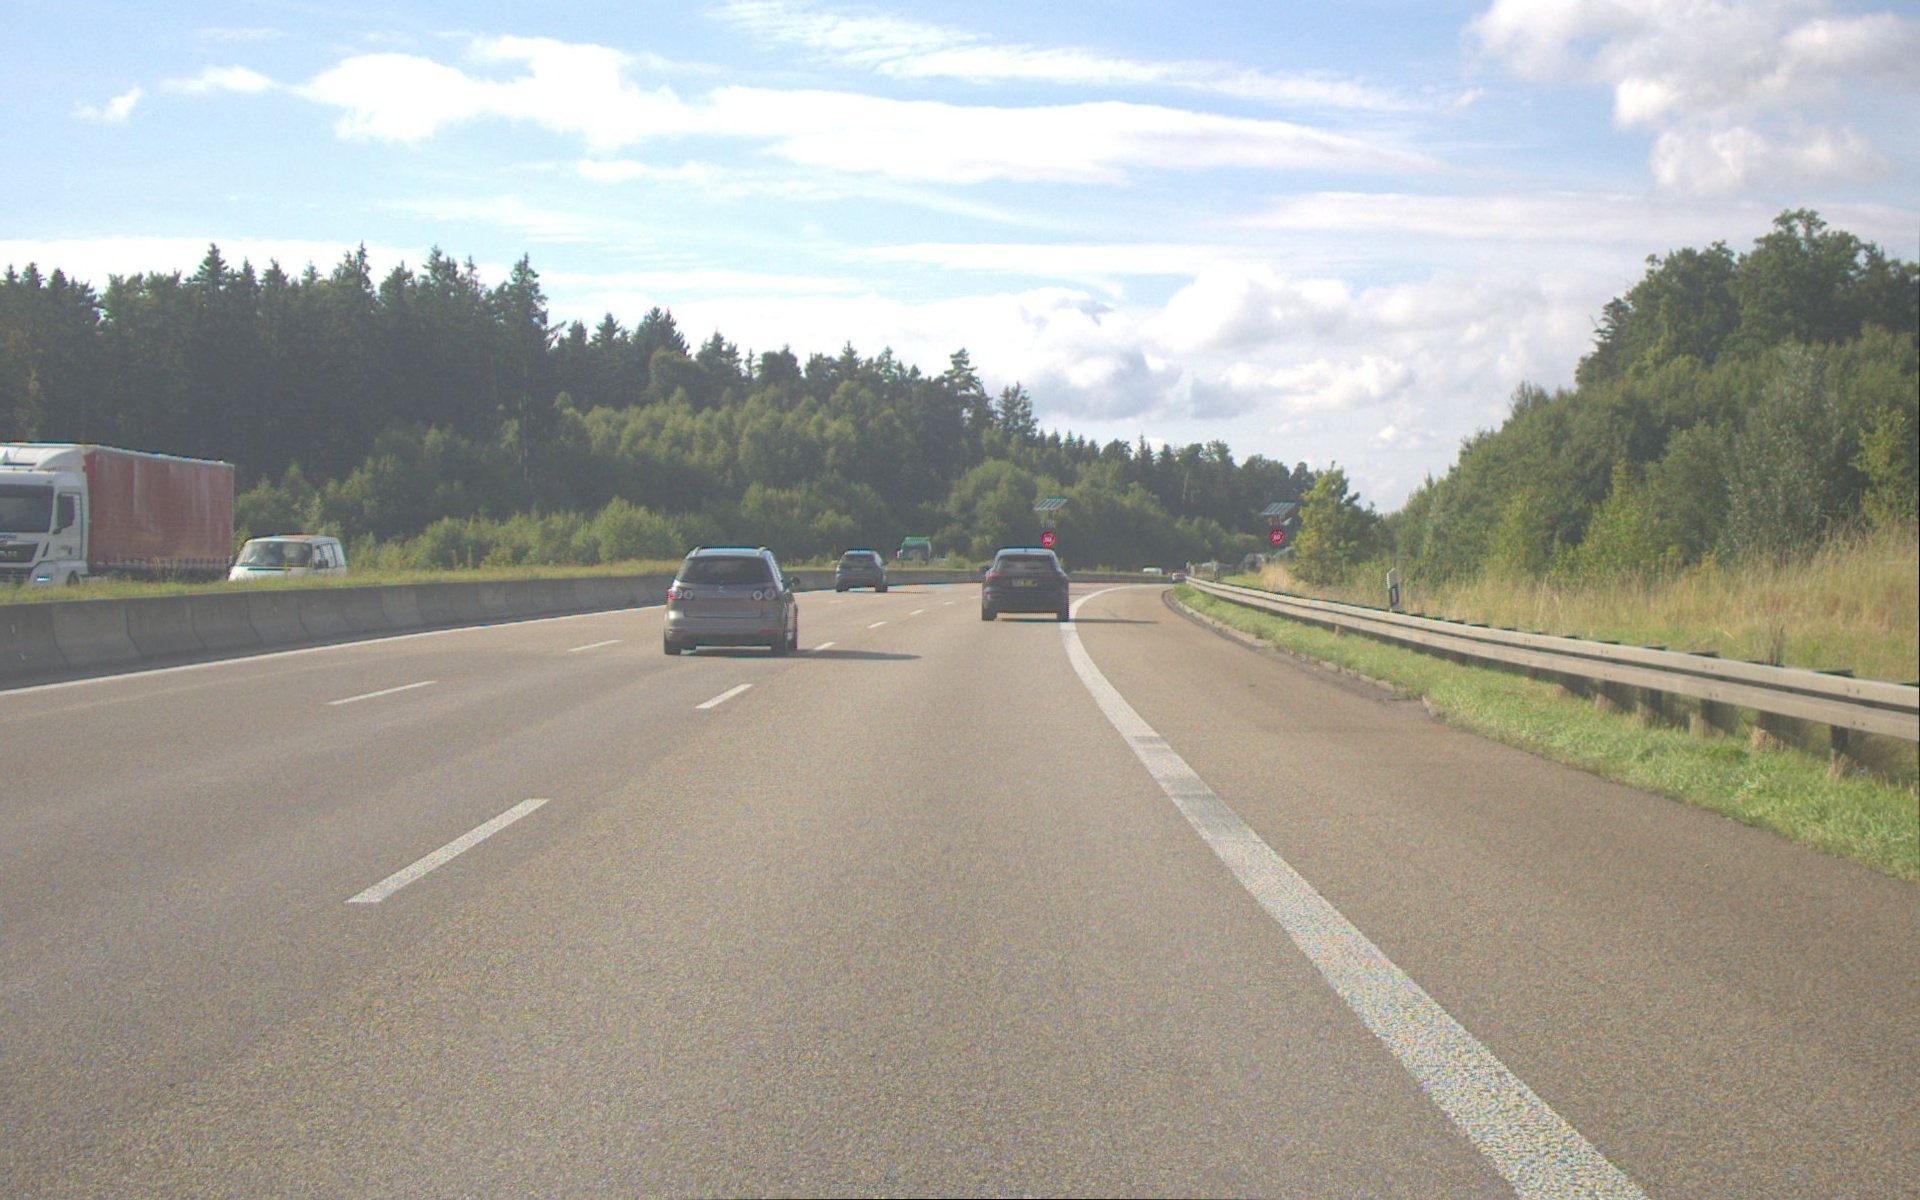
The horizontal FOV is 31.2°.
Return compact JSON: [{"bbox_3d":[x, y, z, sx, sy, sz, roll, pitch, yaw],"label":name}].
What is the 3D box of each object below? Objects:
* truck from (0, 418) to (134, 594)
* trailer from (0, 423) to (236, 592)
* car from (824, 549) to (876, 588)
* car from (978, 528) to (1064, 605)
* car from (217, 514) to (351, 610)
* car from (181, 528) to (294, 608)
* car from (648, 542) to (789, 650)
[{"bbox_3d":[-22.148,-2.237,82.798,3.024,4.094,5.668,1,1,1],"label":"truck"},{"bbox_3d":[-22.007,-2.356,90.288,3.021,4.094,12.792,1,1,1],"label":"trailer"},{"bbox_3d":[-4.411,-1.288,138.079,1.874,1.492,3.880,1,1,1],"label":"car"},{"bbox_3d":[1.361,-0.763,77.245,1.874,1.669,3.890,1,1,1],"label":"car"},{"bbox_3d":[-14.618,-0.836,74.517,1.993,2.007,4.353,1,1,1],"label":"car"},{"bbox_3d":[-18.739,-0.847,89.317,1.993,2.007,4.000,1,1,1],"label":"car"},{"bbox_3d":[-3.497,-0.089,50.355,1.873,1.492,3.880,1,1,-1],"label":"car"}]
